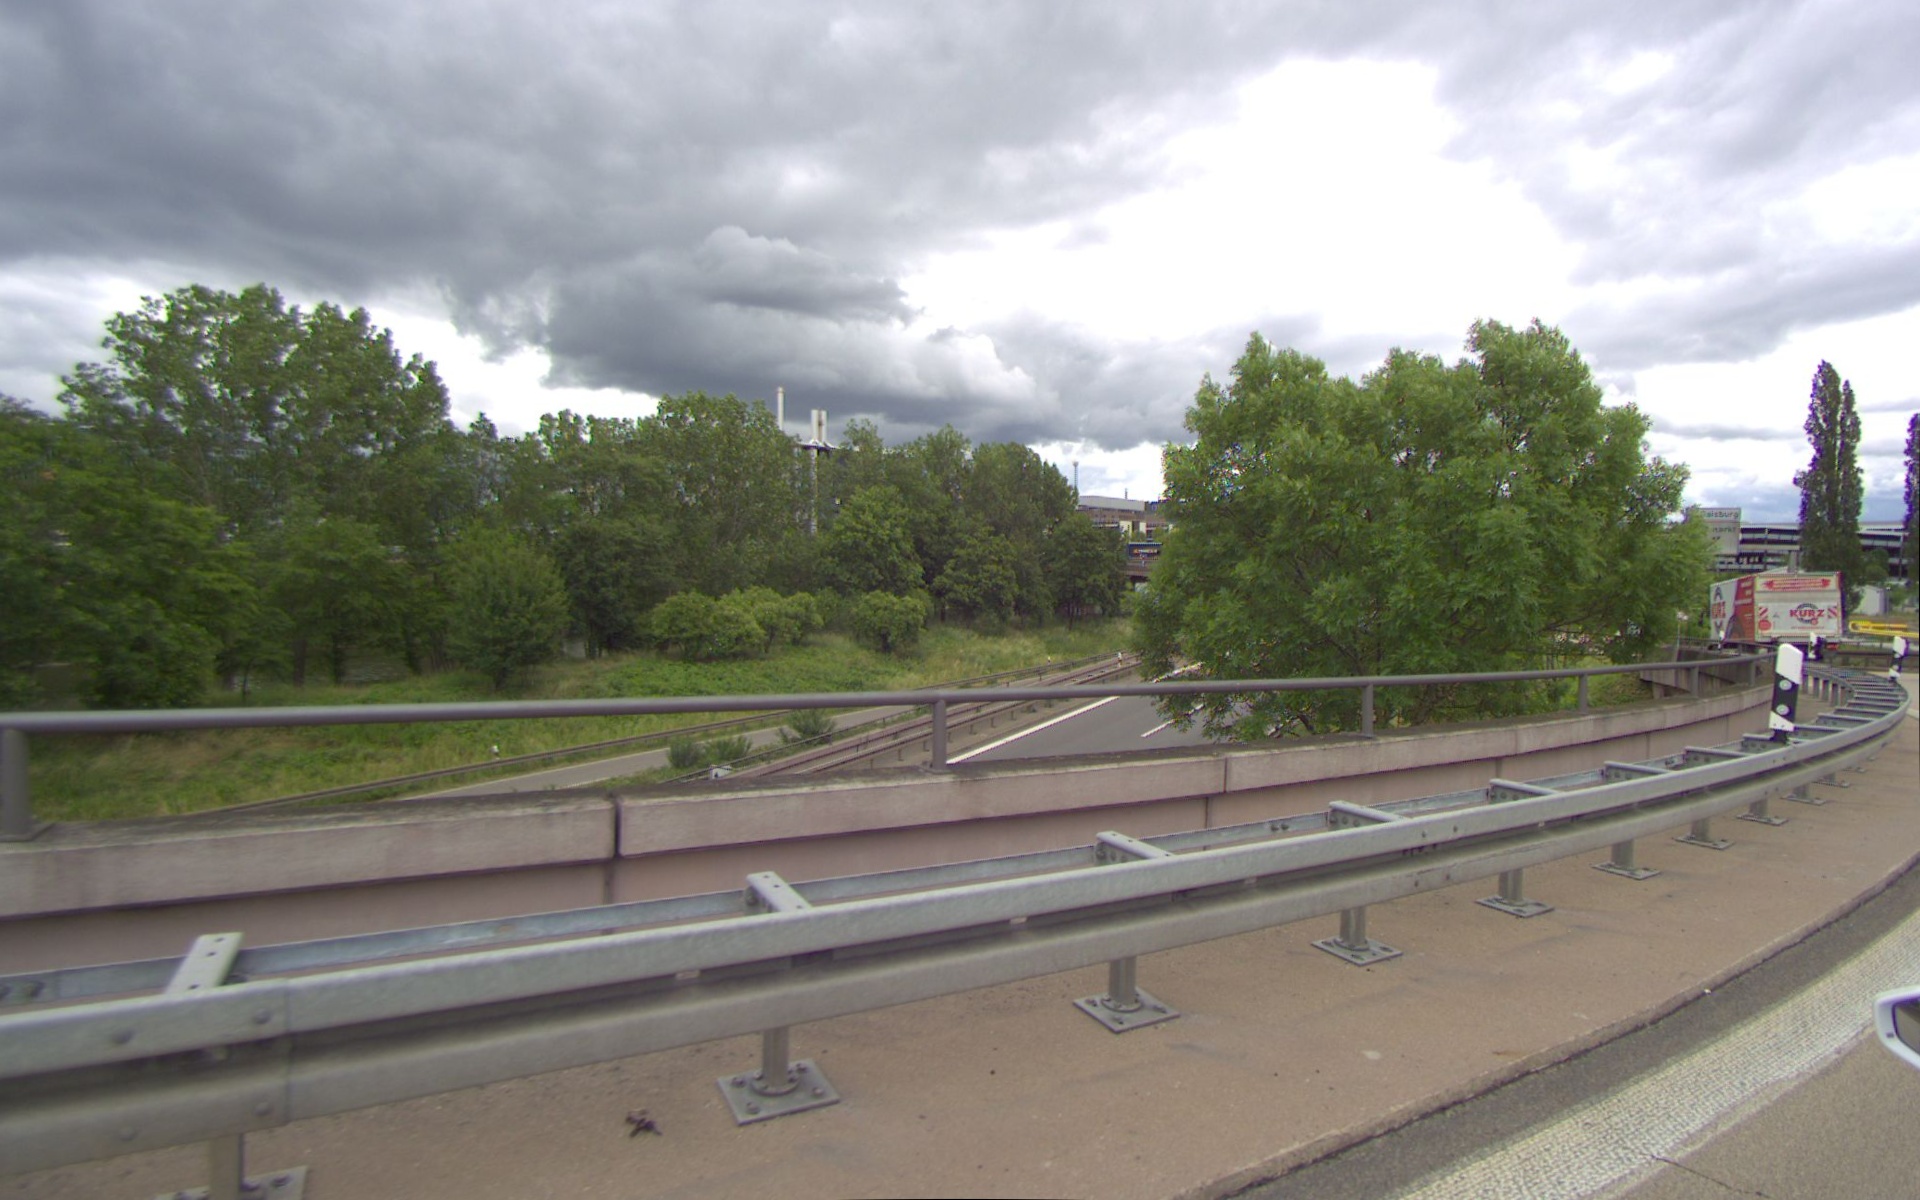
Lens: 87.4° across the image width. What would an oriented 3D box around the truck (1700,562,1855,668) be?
[{"bbox_3d":[32.189,0.479,39.953,3.004,3.722,7.917,2,1,27],"label":"truck"}]
